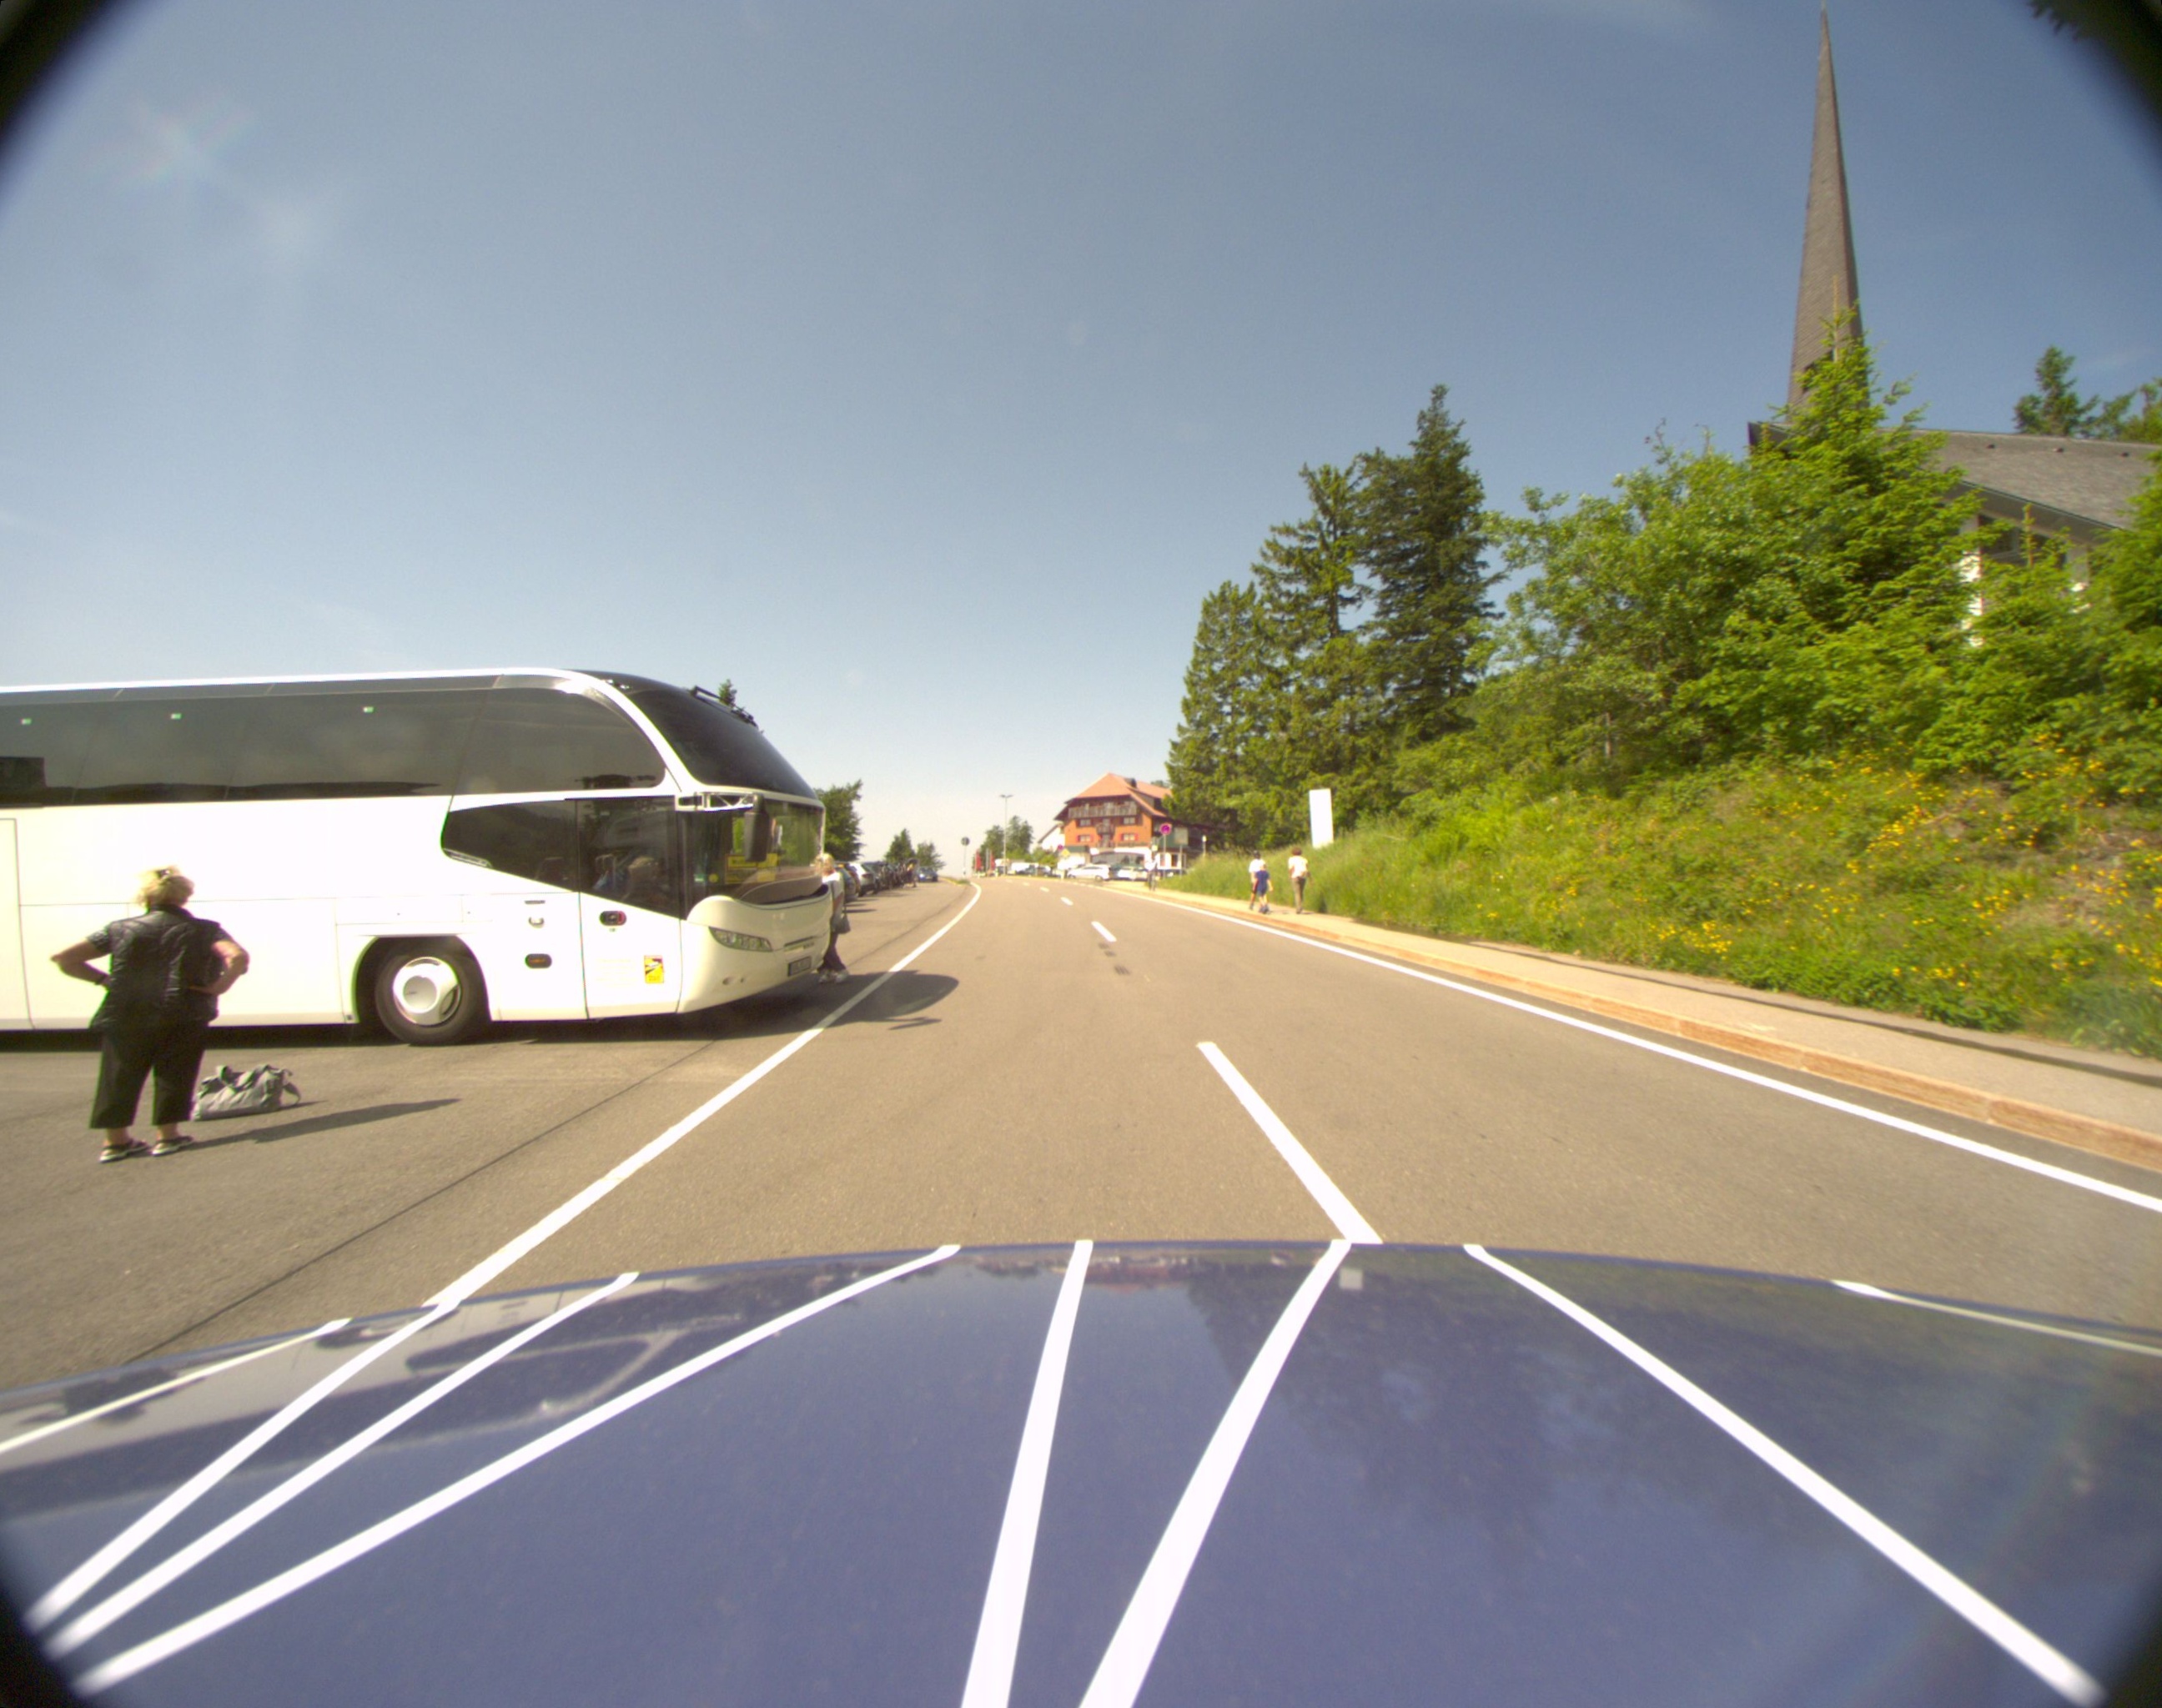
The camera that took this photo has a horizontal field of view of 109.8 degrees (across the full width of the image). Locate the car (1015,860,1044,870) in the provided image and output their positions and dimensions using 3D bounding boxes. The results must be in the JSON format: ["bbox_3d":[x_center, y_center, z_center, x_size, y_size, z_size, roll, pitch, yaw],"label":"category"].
[{"bbox_3d":[-9.470,2.051,139.644,5.253,1.894,1.999,0,0,-4],"label":"car"}]

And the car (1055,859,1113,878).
[{"bbox_3d":[0.287,1.400,75.728,5.351,1.858,2.003,0,0,23],"label":"car"}]

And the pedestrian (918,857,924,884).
[{"bbox_3d":[-10.813,1.125,51.467,0.367,1.812,0.549,0,0,-10],"label":"pedestrian"}]

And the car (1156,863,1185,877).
[{"bbox_3d":[8.840,1.608,74.816,1.709,1.387,3.322,0,-2,28],"label":"car"}]

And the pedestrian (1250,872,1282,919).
[{"bbox_3d":[4.462,0.997,18.335,0.570,1.095,0.744,0,0,-2],"label":"pedestrian"}]

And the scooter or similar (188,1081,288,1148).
[{"bbox_3d":[-5.468,1.685,4.935,0.285,0.309,0.327,-1,0,10],"label":"scooter or similar"}]

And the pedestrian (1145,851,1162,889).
[{"bbox_3d":[3.365,0.750,35.243,0.581,1.731,0.686,0,0,-12],"label":"pedestrian"}]

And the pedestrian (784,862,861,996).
[{"bbox_3d":[-3.314,0.932,9.796,0.744,1.633,0.708,-2,0,-7],"label":"pedestrian"}]

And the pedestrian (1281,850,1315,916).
[{"bbox_3d":[5.513,0.726,19.310,0.577,1.633,0.894,0,0,-2],"label":"pedestrian"}]

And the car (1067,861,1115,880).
[{"bbox_3d":[0.871,1.472,68.241,3.953,1.578,1.793,0,0,28],"label":"car"}]

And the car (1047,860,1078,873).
[{"bbox_3d":[-2.271,1.538,92.232,3.325,1.583,1.720,-1,0,34],"label":"car"}]

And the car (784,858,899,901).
[{"bbox_3d":[-10.466,1.108,33.535,4.490,1.617,2.012,-3,0,-9],"label":"car"}]

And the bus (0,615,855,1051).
[{"bbox_3d":[-9.244,-0.084,7.952,12.876,3.556,2.839,-1,0,2],"label":"bus"}]

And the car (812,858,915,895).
[{"bbox_3d":[-11.808,1.192,41.554,5.117,1.610,1.999,-4,0,-8],"label":"car"}]

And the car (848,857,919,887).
[{"bbox_3d":[-12.990,1.155,50.299,4.327,1.811,1.998,-1,0,-9],"label":"car"}]

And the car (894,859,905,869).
[{"bbox_3d":[-36.867,2.090,154.275,2.001,2.002,3.994,-1,0,-17],"label":"car"}]

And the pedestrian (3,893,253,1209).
[{"bbox_3d":[-5.235,1.014,4.203,0.631,1.558,0.629,-1,1,15],"label":"pedestrian"}]

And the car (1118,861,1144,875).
[{"bbox_3d":[5.702,1.570,86.580,1.710,1.543,3.141,-1,0,31],"label":"car"}]

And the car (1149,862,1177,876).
[{"bbox_3d":[8.322,1.500,77.215,1.714,1.425,3.322,0,-1,28],"label":"car"}]

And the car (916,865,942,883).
[{"bbox_3d":[-13.629,1.757,67.962,2.001,1.537,3.995,-1,0,-15],"label":"car"}]

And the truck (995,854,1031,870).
[{"bbox_3d":[-13.075,1.520,146.317,2.863,2.813,8.776,-1,0,24],"label":"truck"}]

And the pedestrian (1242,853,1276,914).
[{"bbox_3d":[4.558,0.733,19.490,0.582,1.528,0.879,0,0,-5],"label":"pedestrian"}]

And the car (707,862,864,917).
[{"bbox_3d":[-8.970,1.057,23.331,4.141,1.535,1.672,-2,0,-2],"label":"car"}]

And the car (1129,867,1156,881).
[{"bbox_3d":[6.749,2.202,83.594,1.727,1.456,3.527,-1,0,27],"label":"car"}]

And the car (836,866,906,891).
[{"bbox_3d":[-12.263,1.404,44.560,3.711,1.261,1.563,-2,-1,-9],"label":"car"}]

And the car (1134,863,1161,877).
[{"bbox_3d":[7.044,1.671,80.234,1.637,1.425,3.322,0,-2,28],"label":"car"}]

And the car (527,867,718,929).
[{"bbox_3d":[-12.228,1.146,20.451,3.997,1.411,1.766,-2,0,0],"label":"car"}]

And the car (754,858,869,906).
[{"bbox_3d":[-10.591,1.087,30.081,3.889,1.606,1.709,-3,0,-7],"label":"car"}]
